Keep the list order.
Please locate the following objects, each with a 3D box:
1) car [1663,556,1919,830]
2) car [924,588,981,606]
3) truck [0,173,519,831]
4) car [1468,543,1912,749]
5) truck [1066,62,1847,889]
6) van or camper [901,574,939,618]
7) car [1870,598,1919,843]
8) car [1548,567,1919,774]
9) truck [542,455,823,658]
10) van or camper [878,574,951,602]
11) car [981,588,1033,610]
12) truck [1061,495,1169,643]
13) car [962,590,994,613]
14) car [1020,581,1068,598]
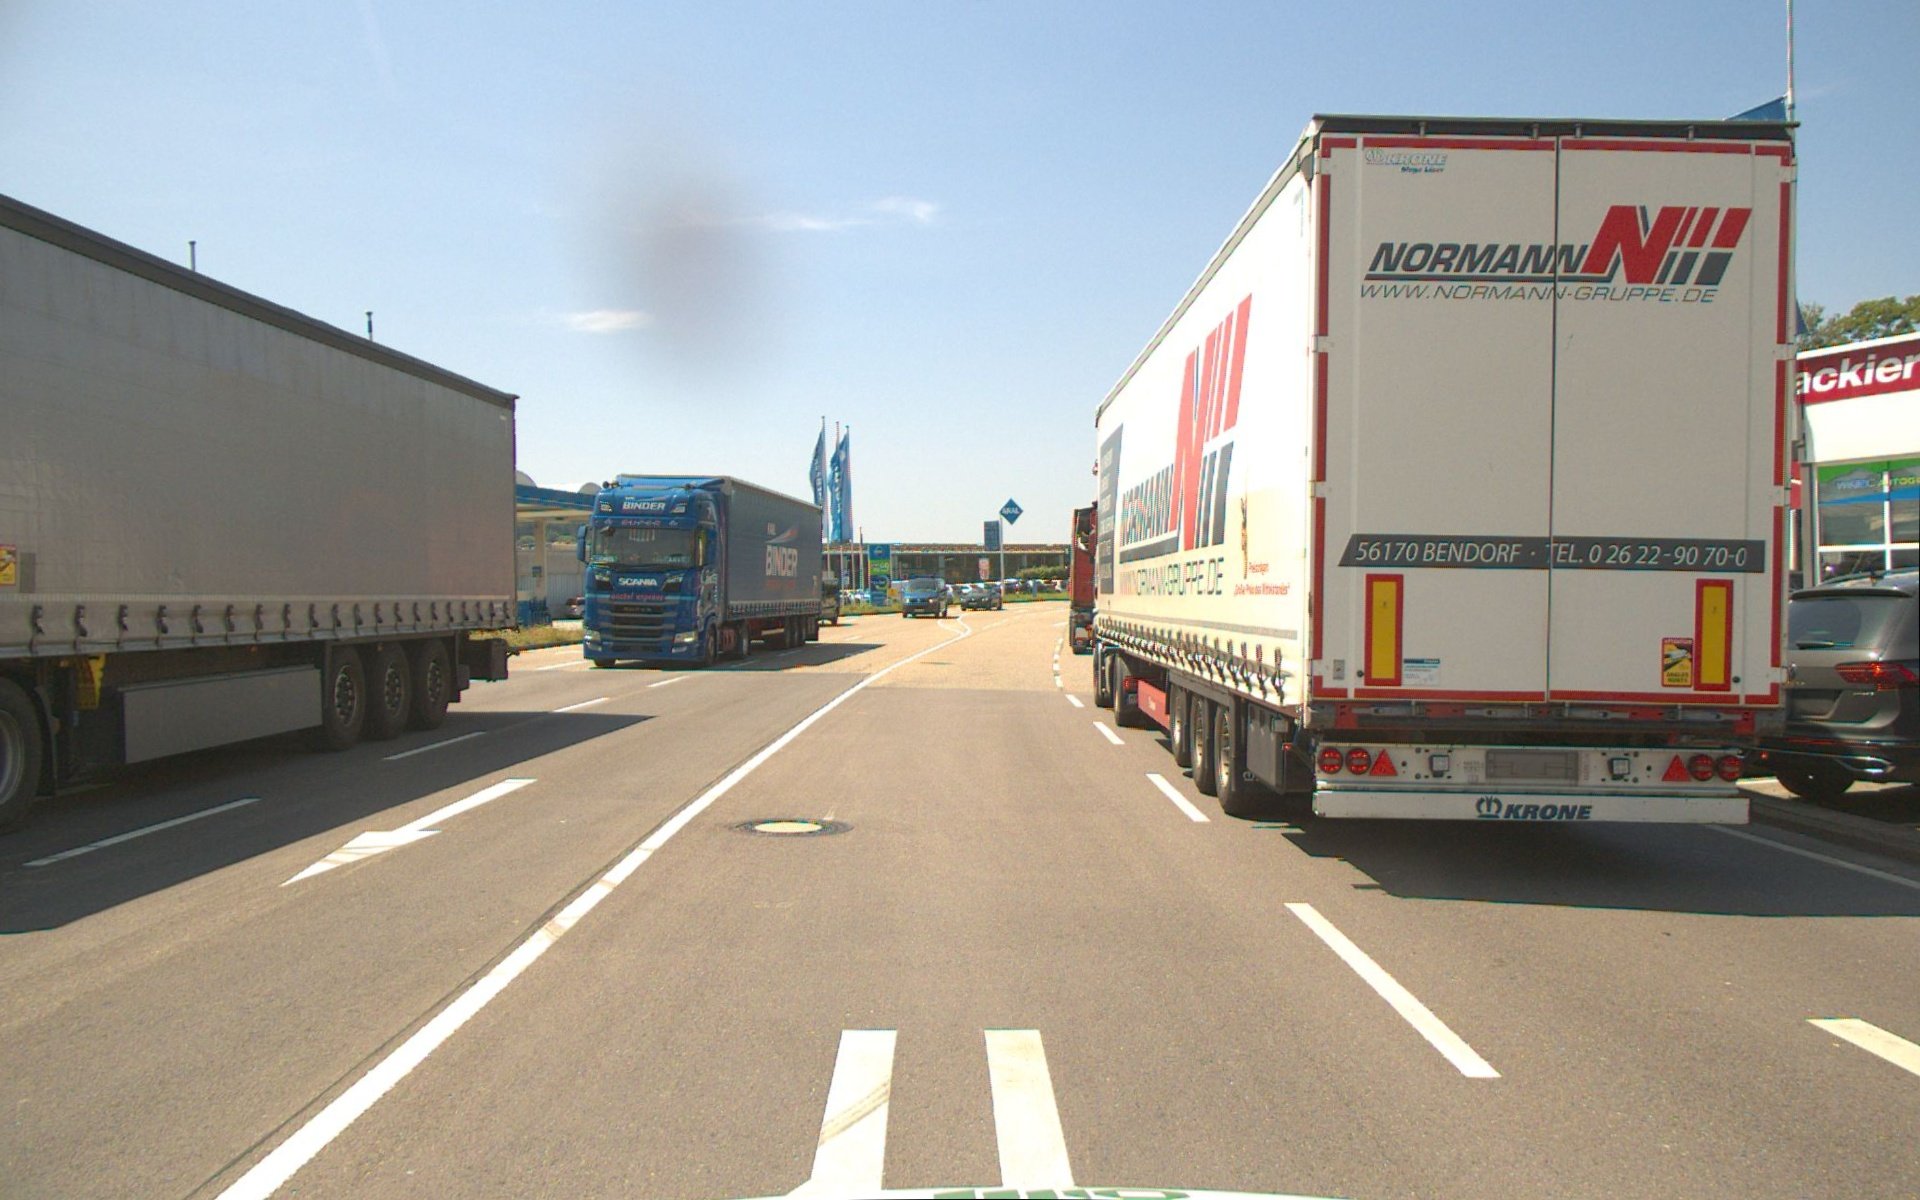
[{"bbox_3d":[7.709,0.507,12.311,3.942,1.703,2.194,-5,0,-12],"label":"car"},{"bbox_3d":[-0.608,-0.237,132.618,4.160,1.383,1.995,-1,0,32],"label":"car"},{"bbox_3d":[-7.134,-0.574,13.410,2.733,3.957,16.481,0,0,0],"label":"truck"},{"bbox_3d":[7.681,0.456,17.699,3.777,1.720,1.943,-6,0,-1],"label":"car"},{"bbox_3d":[3.065,-0.648,17.155,2.912,4.165,17.635,0,0,0],"label":"truck"},{"bbox_3d":[-2.008,-0.241,84.134,1.799,2.175,5.343,0,1,0],"label":"van or camper"},{"bbox_3d":[7.959,0.595,9.894,3.936,1.507,1.975,-5,0,-7],"label":"car"},{"bbox_3d":[7.800,0.568,15.195,4.055,1.446,1.791,-6,0,-4],"label":"car"},{"bbox_3d":[-6.145,-0.811,40.859,2.784,3.957,17.015,0,0,5],"label":"truck"},{"bbox_3d":[-3.123,-0.810,113.037,4.744,1.938,1.906,0,0,7],"label":"van or camper"},{"bbox_3d":[3.980,-0.071,139.616,3.917,1.780,1.994,0,0,34],"label":"car"},{"bbox_3d":[4.558,-0.878,50.960,2.592,3.873,13.364,-2,0,3],"label":"truck"},{"bbox_3d":[1.066,0.082,98.179,1.810,1.293,4.176,-2,0,0],"label":"car"},{"bbox_3d":[7.481,-0.920,147.284,3.913,1.340,1.830,-2,0,31],"label":"car"}]
